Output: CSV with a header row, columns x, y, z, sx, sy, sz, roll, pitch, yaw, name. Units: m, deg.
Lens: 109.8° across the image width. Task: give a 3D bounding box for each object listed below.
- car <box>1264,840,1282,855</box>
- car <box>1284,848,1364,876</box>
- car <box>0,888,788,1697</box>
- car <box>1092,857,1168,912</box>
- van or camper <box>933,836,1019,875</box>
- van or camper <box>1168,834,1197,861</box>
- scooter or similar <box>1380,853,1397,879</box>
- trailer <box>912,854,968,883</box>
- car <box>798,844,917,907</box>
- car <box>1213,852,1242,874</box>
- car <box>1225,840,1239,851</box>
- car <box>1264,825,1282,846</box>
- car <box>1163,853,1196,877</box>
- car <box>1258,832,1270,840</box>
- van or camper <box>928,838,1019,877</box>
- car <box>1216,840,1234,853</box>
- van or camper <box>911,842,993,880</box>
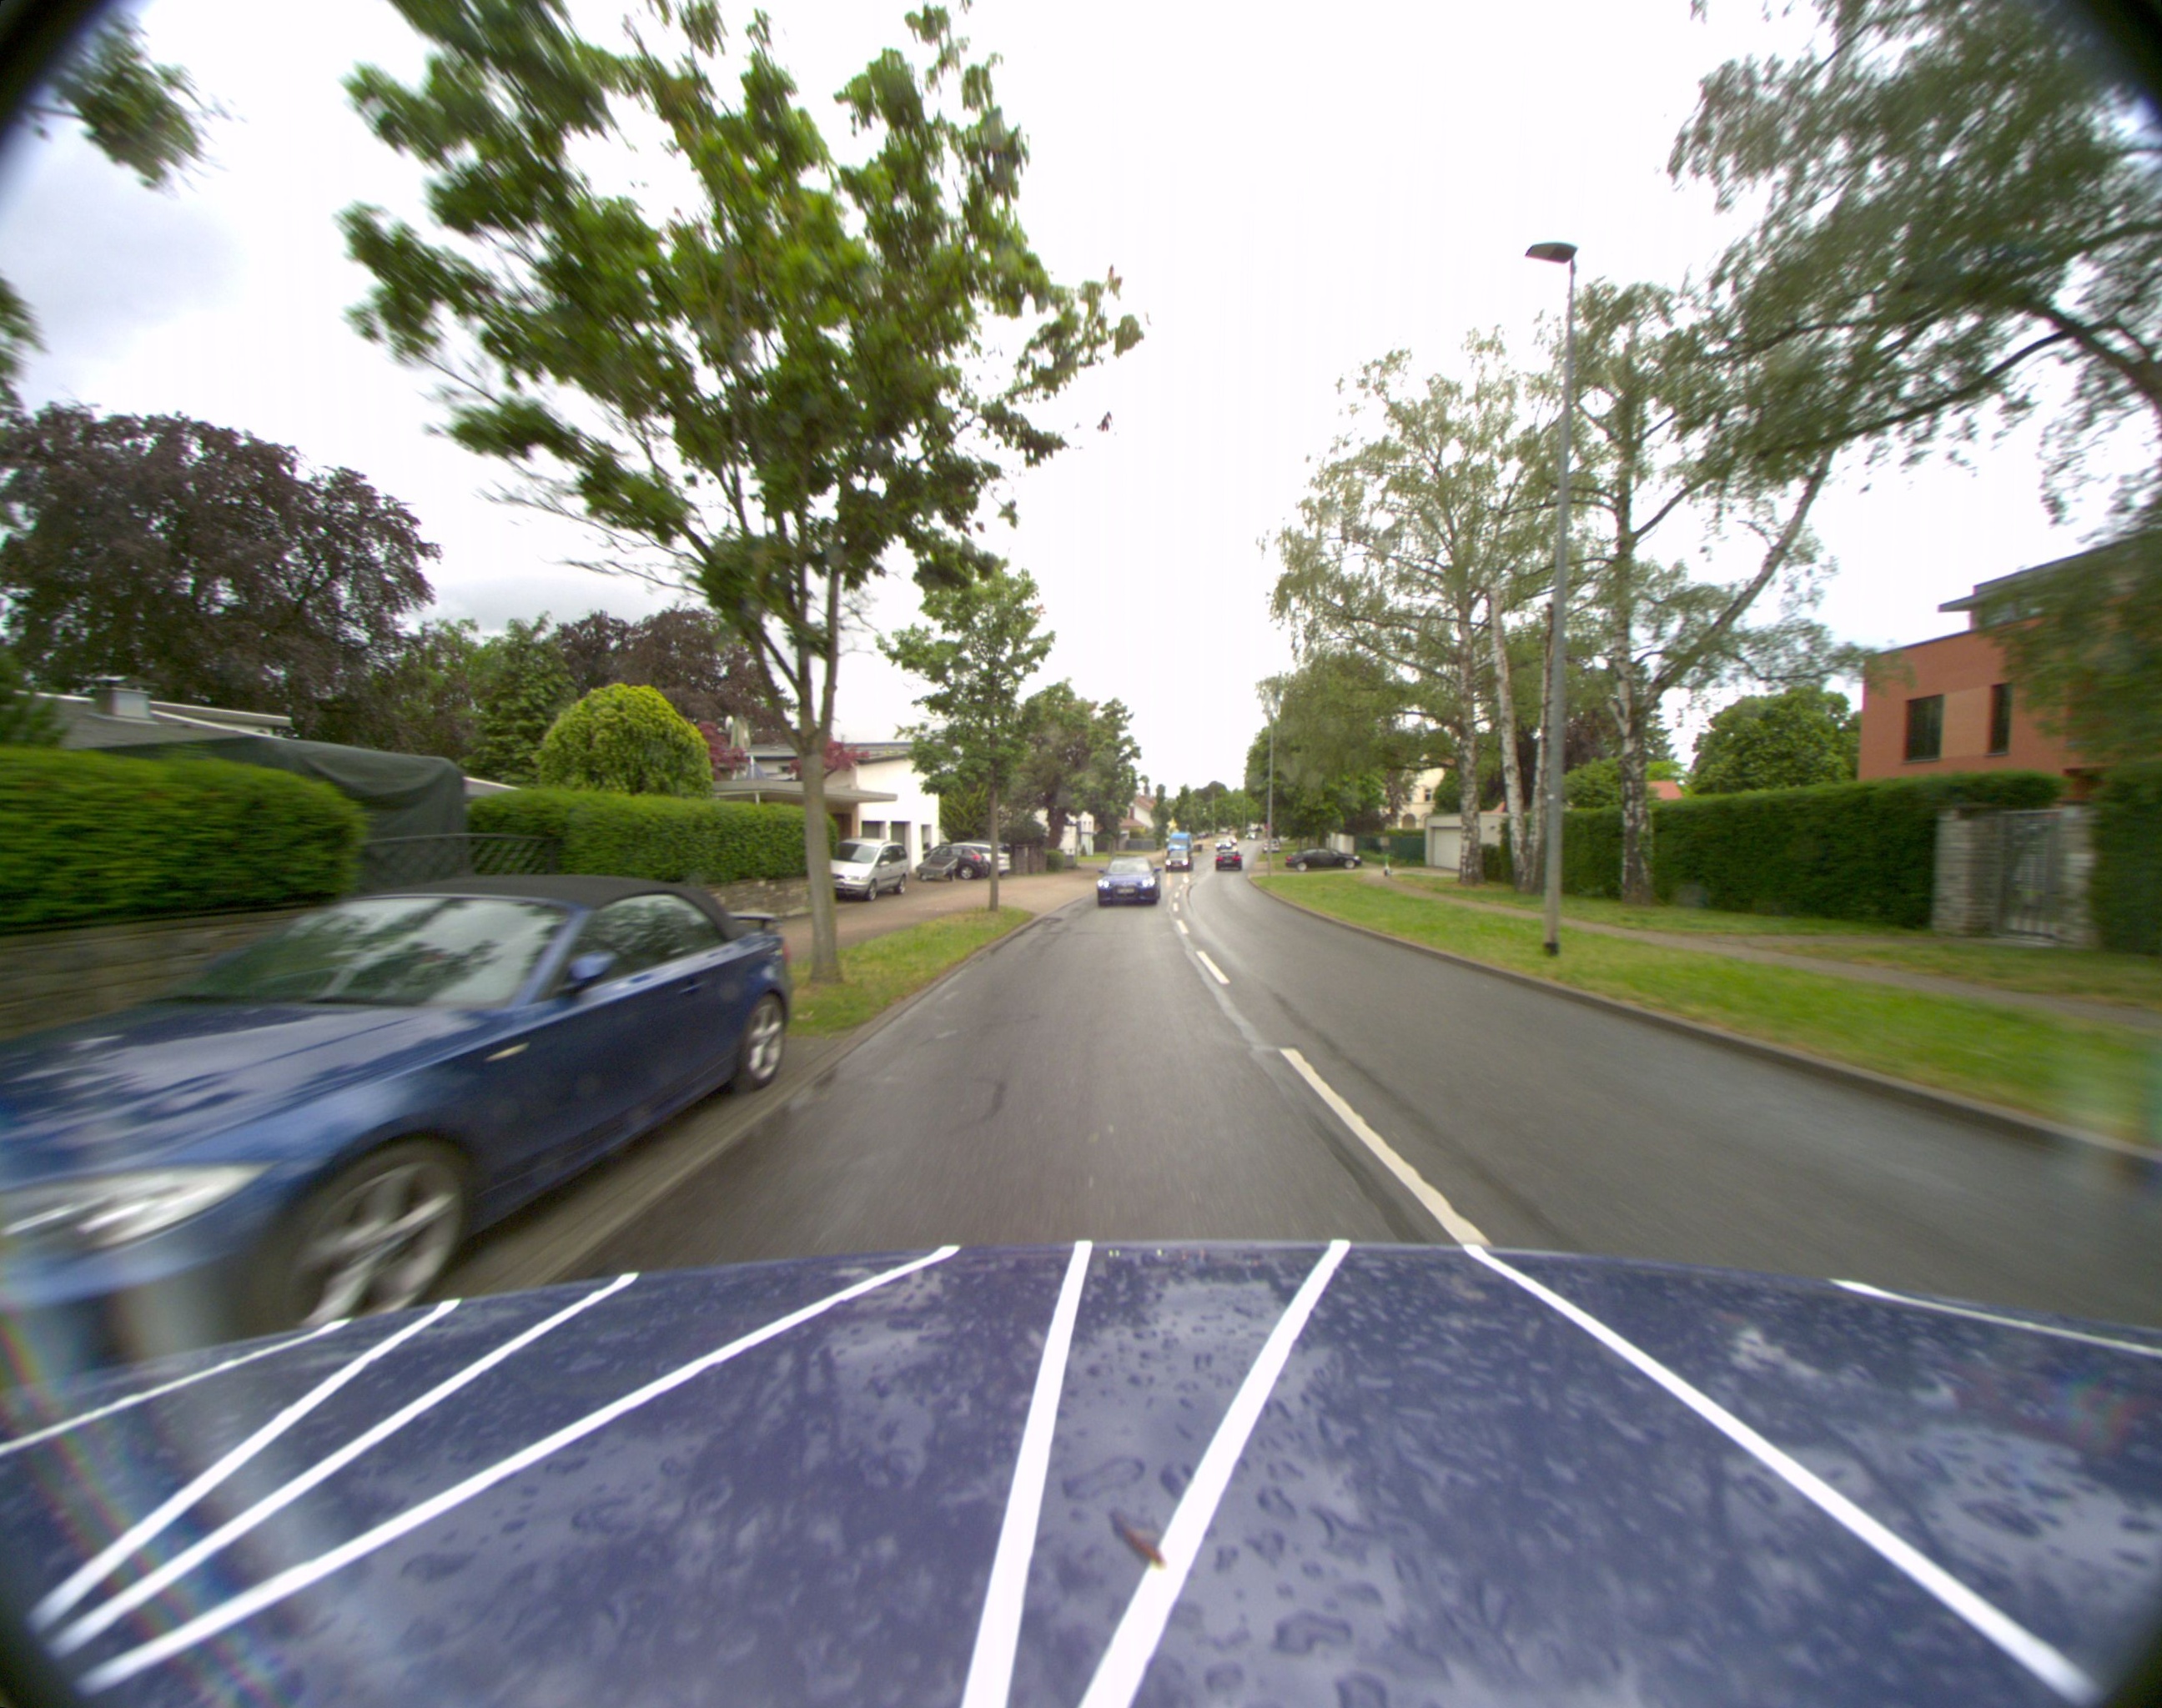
x,y,z,sx,sy,sz,roll,pitch,yaw,name
22.005,-0.774,87.000,1.773,1.598,4.004,0,2,17,car
14.704,0.456,46.202,4.434,1.409,1.757,-3,1,14,car
-2.915,0.968,3.325,1.645,1.369,3.829,2,1,2,car
1.677,0.932,24.703,1.894,1.531,4.003,-2,1,12,car
-5.569,0.035,40.586,4.019,1.778,1.949,4,2,12,van or camper
10.313,-0.725,77.050,2.146,2.594,5.786,2,3,15,van or camper
14.242,0.564,35.207,0.424,1.151,1.493,-1,0,34,scooter or similar
-5.931,0.586,32.281,1.423,0.916,3.275,8,2,5,trailer
-6.781,0.559,23.670,1.798,1.747,4.944,0,1,6,car
10.551,0.621,54.832,1.758,1.432,4.159,-2,0,7,car
23.129,-1.326,116.315,1.893,1.531,4.004,-2,1,15,car
27.773,-2.650,109.613,2.245,2.823,5.049,-1,2,17,car
7.106,0.770,54.438,1.845,1.531,4.004,-2,1,15,car
35.459,-3.526,146.947,1.893,1.531,4.004,-2,1,17,car
-5.369,0.144,38.221,3.993,1.668,2.124,4,2,10,van or camper
18.750,-1.011,98.675,1.893,1.531,4.004,-2,1,16,car
-5.967,0.301,35.412,3.409,1.547,1.769,2,2,5,van or camper
